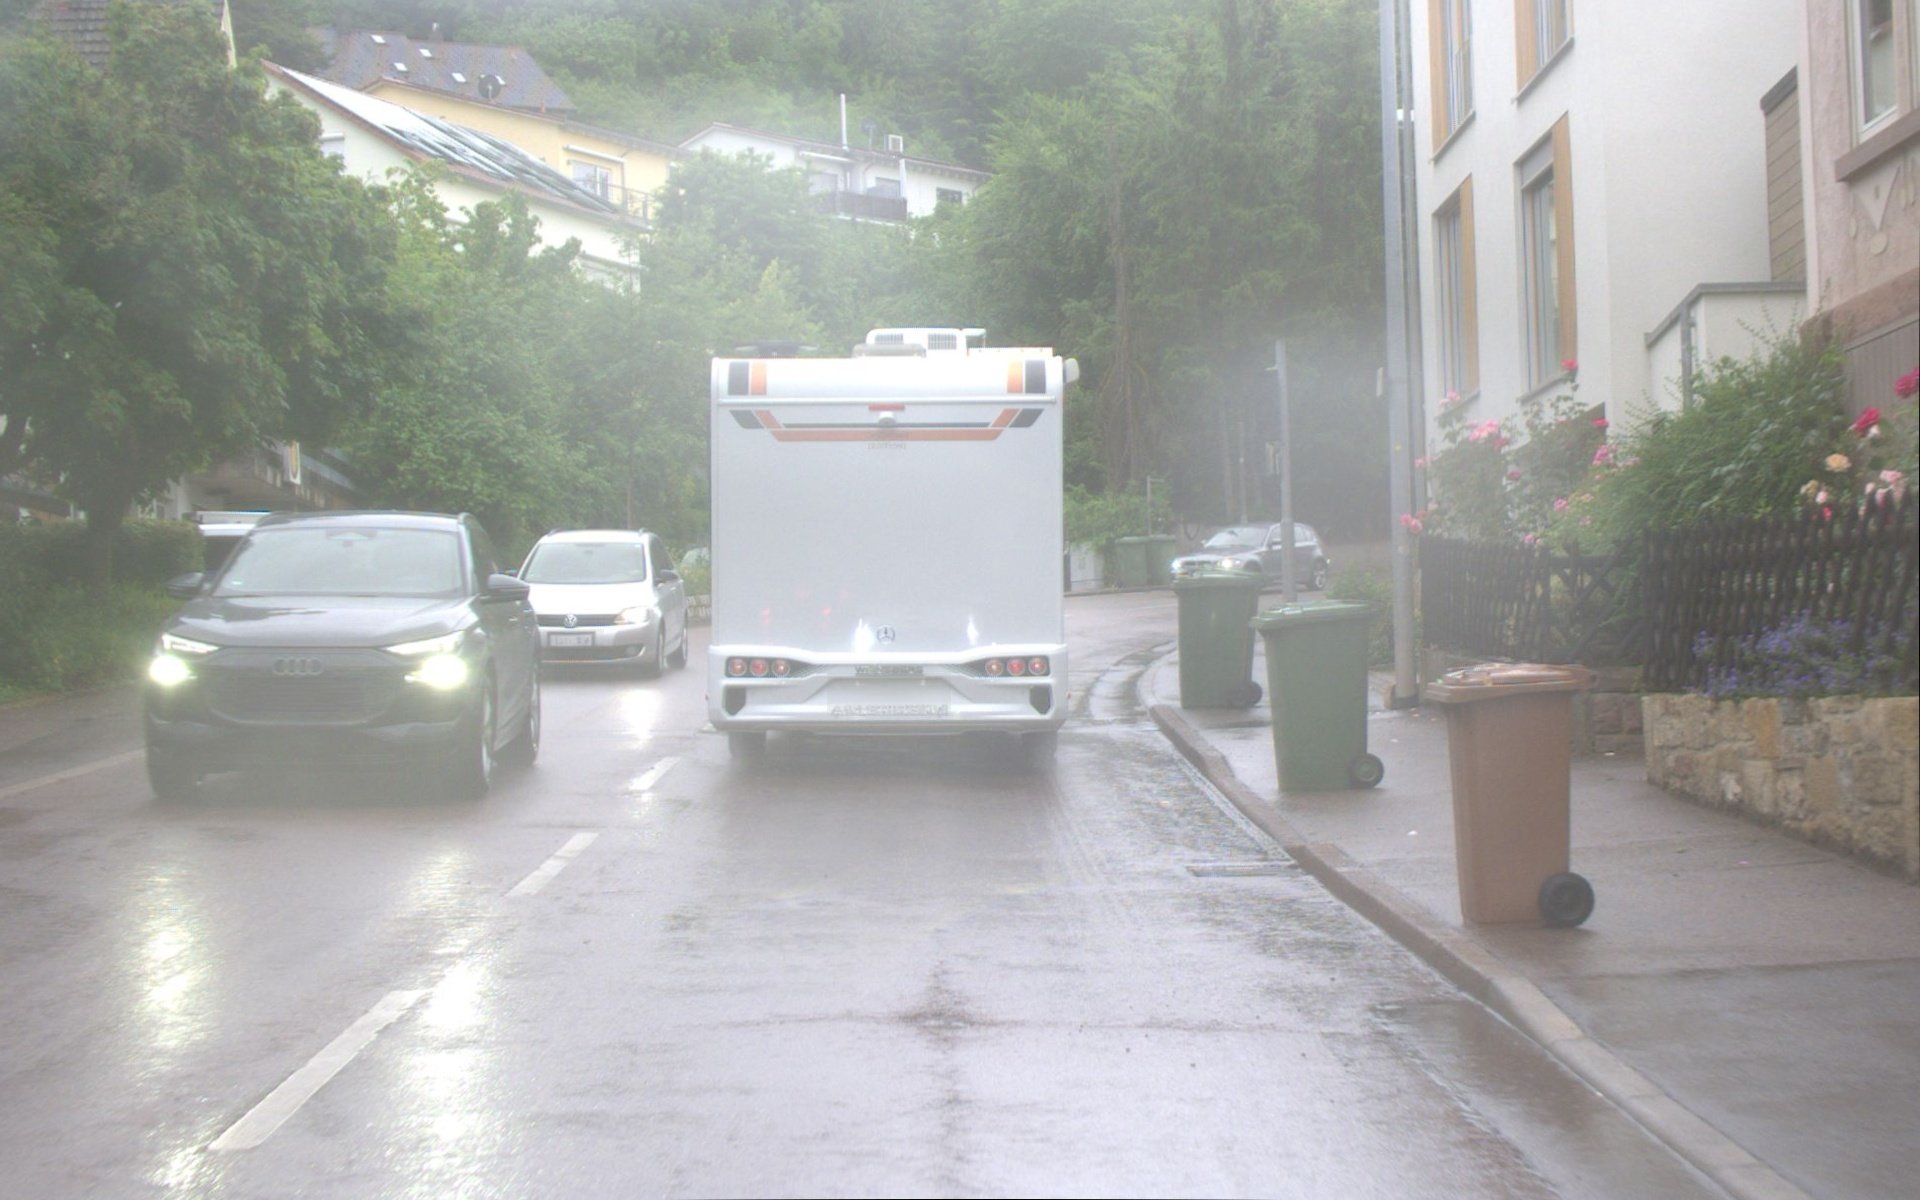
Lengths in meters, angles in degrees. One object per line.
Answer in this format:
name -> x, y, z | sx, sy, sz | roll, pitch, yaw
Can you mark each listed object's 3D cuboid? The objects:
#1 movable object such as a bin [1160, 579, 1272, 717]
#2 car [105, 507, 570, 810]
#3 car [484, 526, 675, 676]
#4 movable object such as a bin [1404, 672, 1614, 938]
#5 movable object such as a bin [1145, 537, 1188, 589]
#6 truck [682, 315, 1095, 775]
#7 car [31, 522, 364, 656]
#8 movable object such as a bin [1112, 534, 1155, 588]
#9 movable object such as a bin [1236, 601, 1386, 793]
movable object such as a bin -> 2.020, 0.373, 27.205 | 0.835, 1.057, 0.750 | 0, 1, 0
car -> -3.590, 0.274, 20.640 | 1.918, 1.618, 4.363 | 0, 1, 1
car -> -4.105, -0.024, 37.550 | 1.804, 1.548, 3.830 | 0, 1, -2
movable object such as a bin -> 1.956, 0.719, 12.310 | 0.630, 0.894, 0.712 | 0, 1, -1
movable object such as a bin -> 4.365, -0.782, 72.733 | 0.704, 1.084, 0.560 | -1, 1, -30
truck -> -0.494, -0.397, 24.163 | 2.515, 2.808, 6.202 | 0, 1, -1
car -> -10.454, -0.170, 47.347 | 4.106, 1.794, 2.000 | 0, 1, 1
movable object such as a bin -> 3.658, -0.820, 72.370 | 0.666, 1.135, 0.626 | -1, 1, -30
movable object such as a bin -> 2.008, 0.547, 19.748 | 0.796, 1.066, 0.761 | 0, 1, 1
